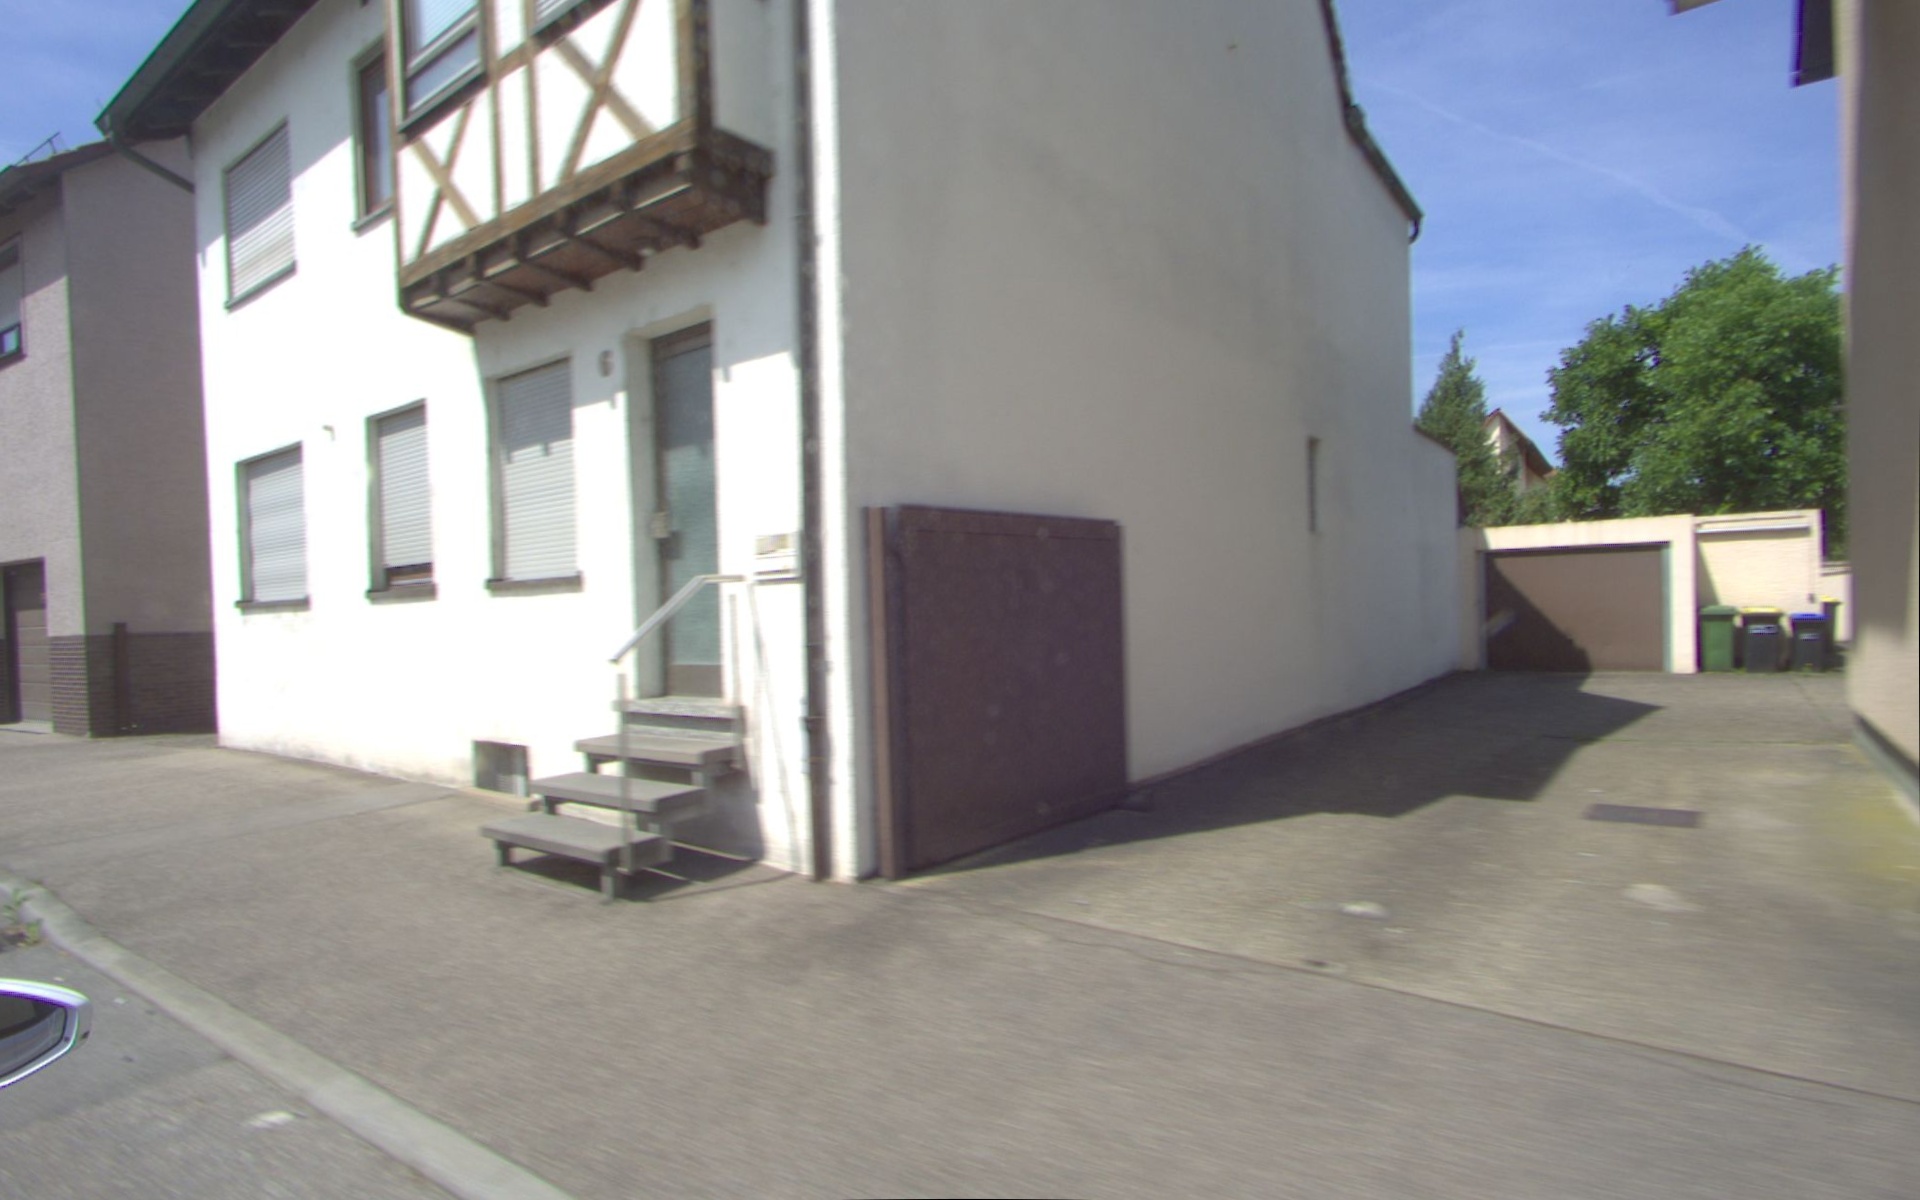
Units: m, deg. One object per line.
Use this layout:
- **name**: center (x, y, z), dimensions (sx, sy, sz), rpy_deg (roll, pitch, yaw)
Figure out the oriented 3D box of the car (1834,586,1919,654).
- **car**: center (20.089, 0.388, 20.320), dimensions (3.231, 1.360, 1.750), rpy_deg (0, 0, 30)
